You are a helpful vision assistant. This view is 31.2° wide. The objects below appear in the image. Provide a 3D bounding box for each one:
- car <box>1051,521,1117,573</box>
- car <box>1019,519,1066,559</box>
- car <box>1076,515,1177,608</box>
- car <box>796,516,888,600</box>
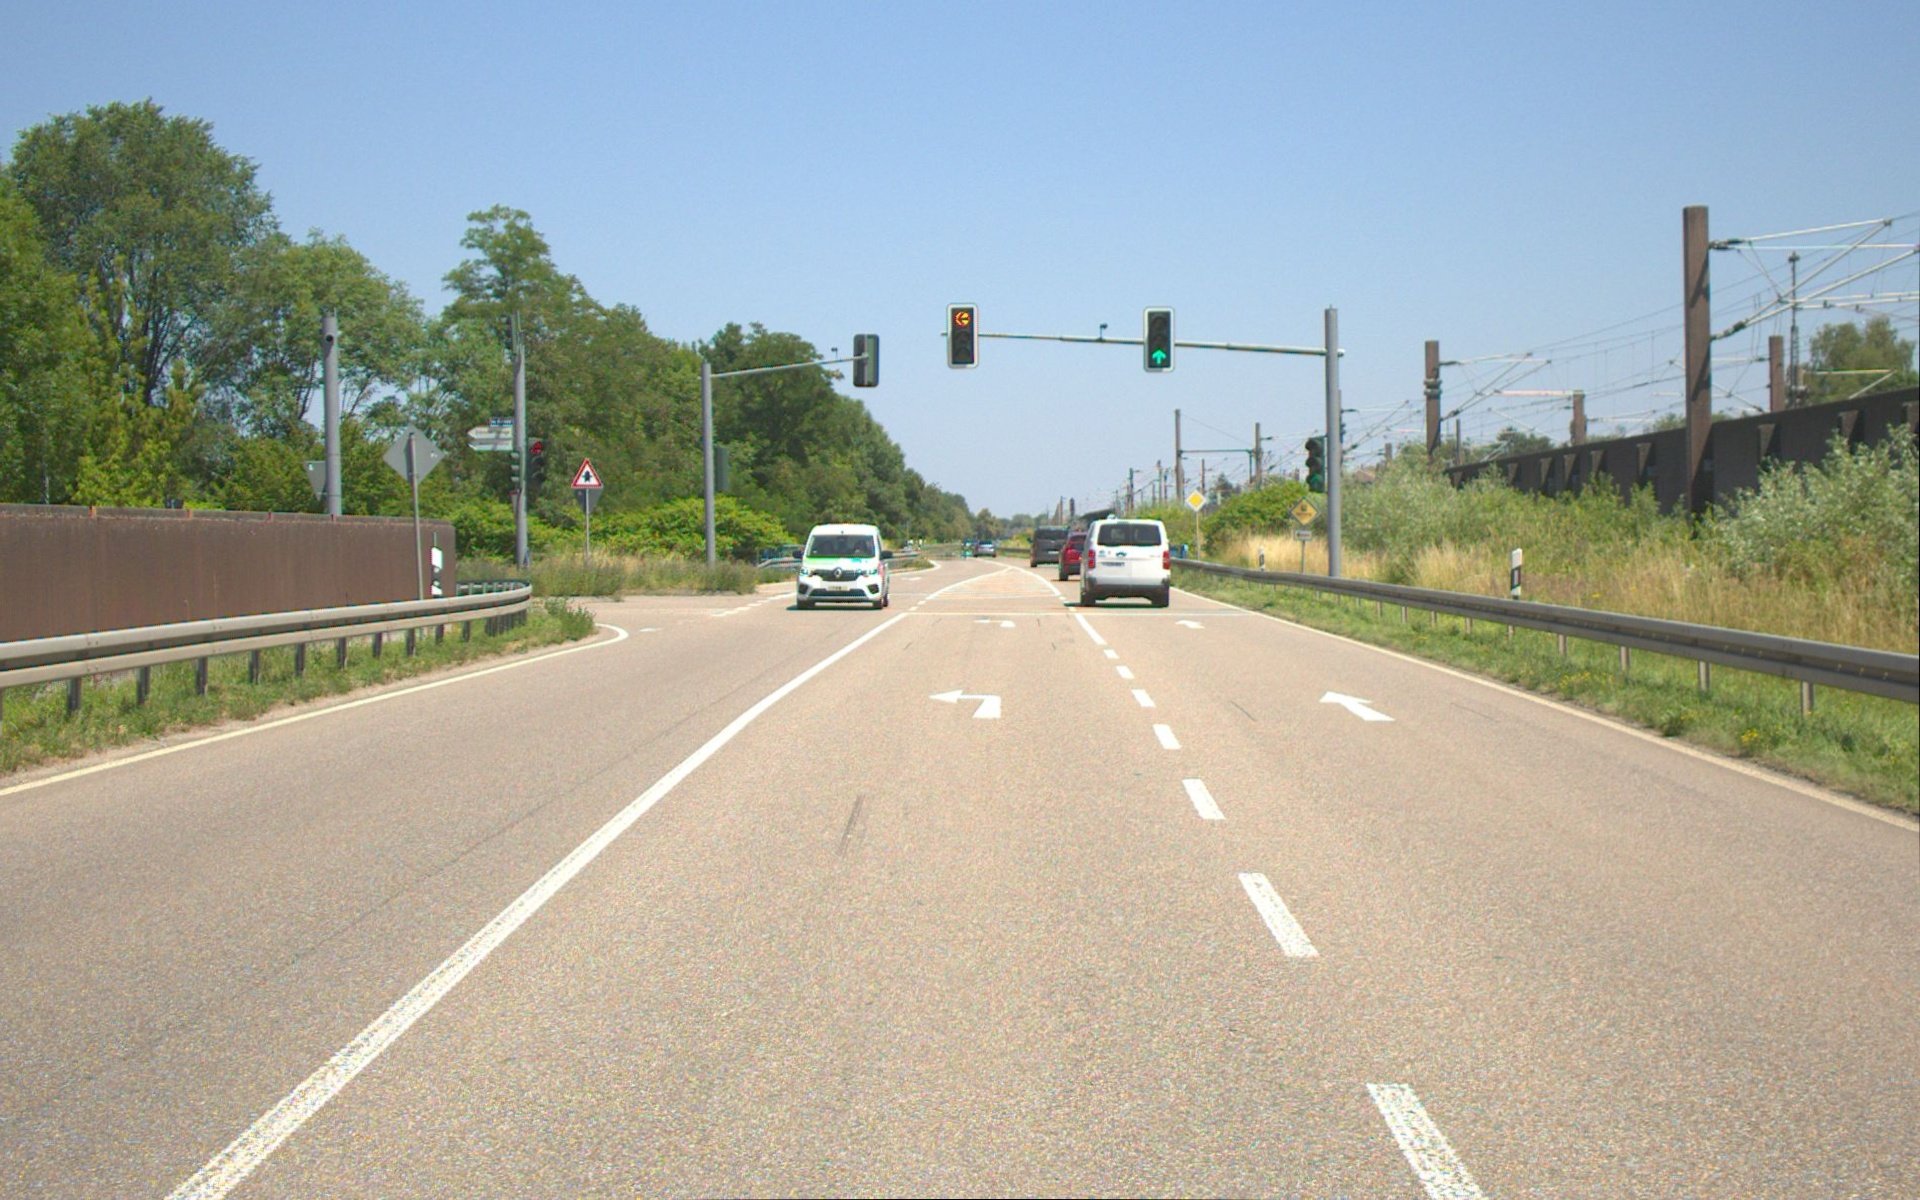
[{"bbox_3d":[4.176,-1.817,116.221,2.019,1.720,4.543,0,1,-1],"label":"car"},{"bbox_3d":[4.062,-3.043,170.563,2.155,1.961,4.543,0,1,-1],"label":"car"},{"bbox_3d":[3.659,-0.880,76.281,1.993,1.977,4.060,1,1,0],"label":"car"},{"bbox_3d":[-2.504,-0.927,73.608,1.887,1.734,4.777,0,1,-1],"label":"car"}]
